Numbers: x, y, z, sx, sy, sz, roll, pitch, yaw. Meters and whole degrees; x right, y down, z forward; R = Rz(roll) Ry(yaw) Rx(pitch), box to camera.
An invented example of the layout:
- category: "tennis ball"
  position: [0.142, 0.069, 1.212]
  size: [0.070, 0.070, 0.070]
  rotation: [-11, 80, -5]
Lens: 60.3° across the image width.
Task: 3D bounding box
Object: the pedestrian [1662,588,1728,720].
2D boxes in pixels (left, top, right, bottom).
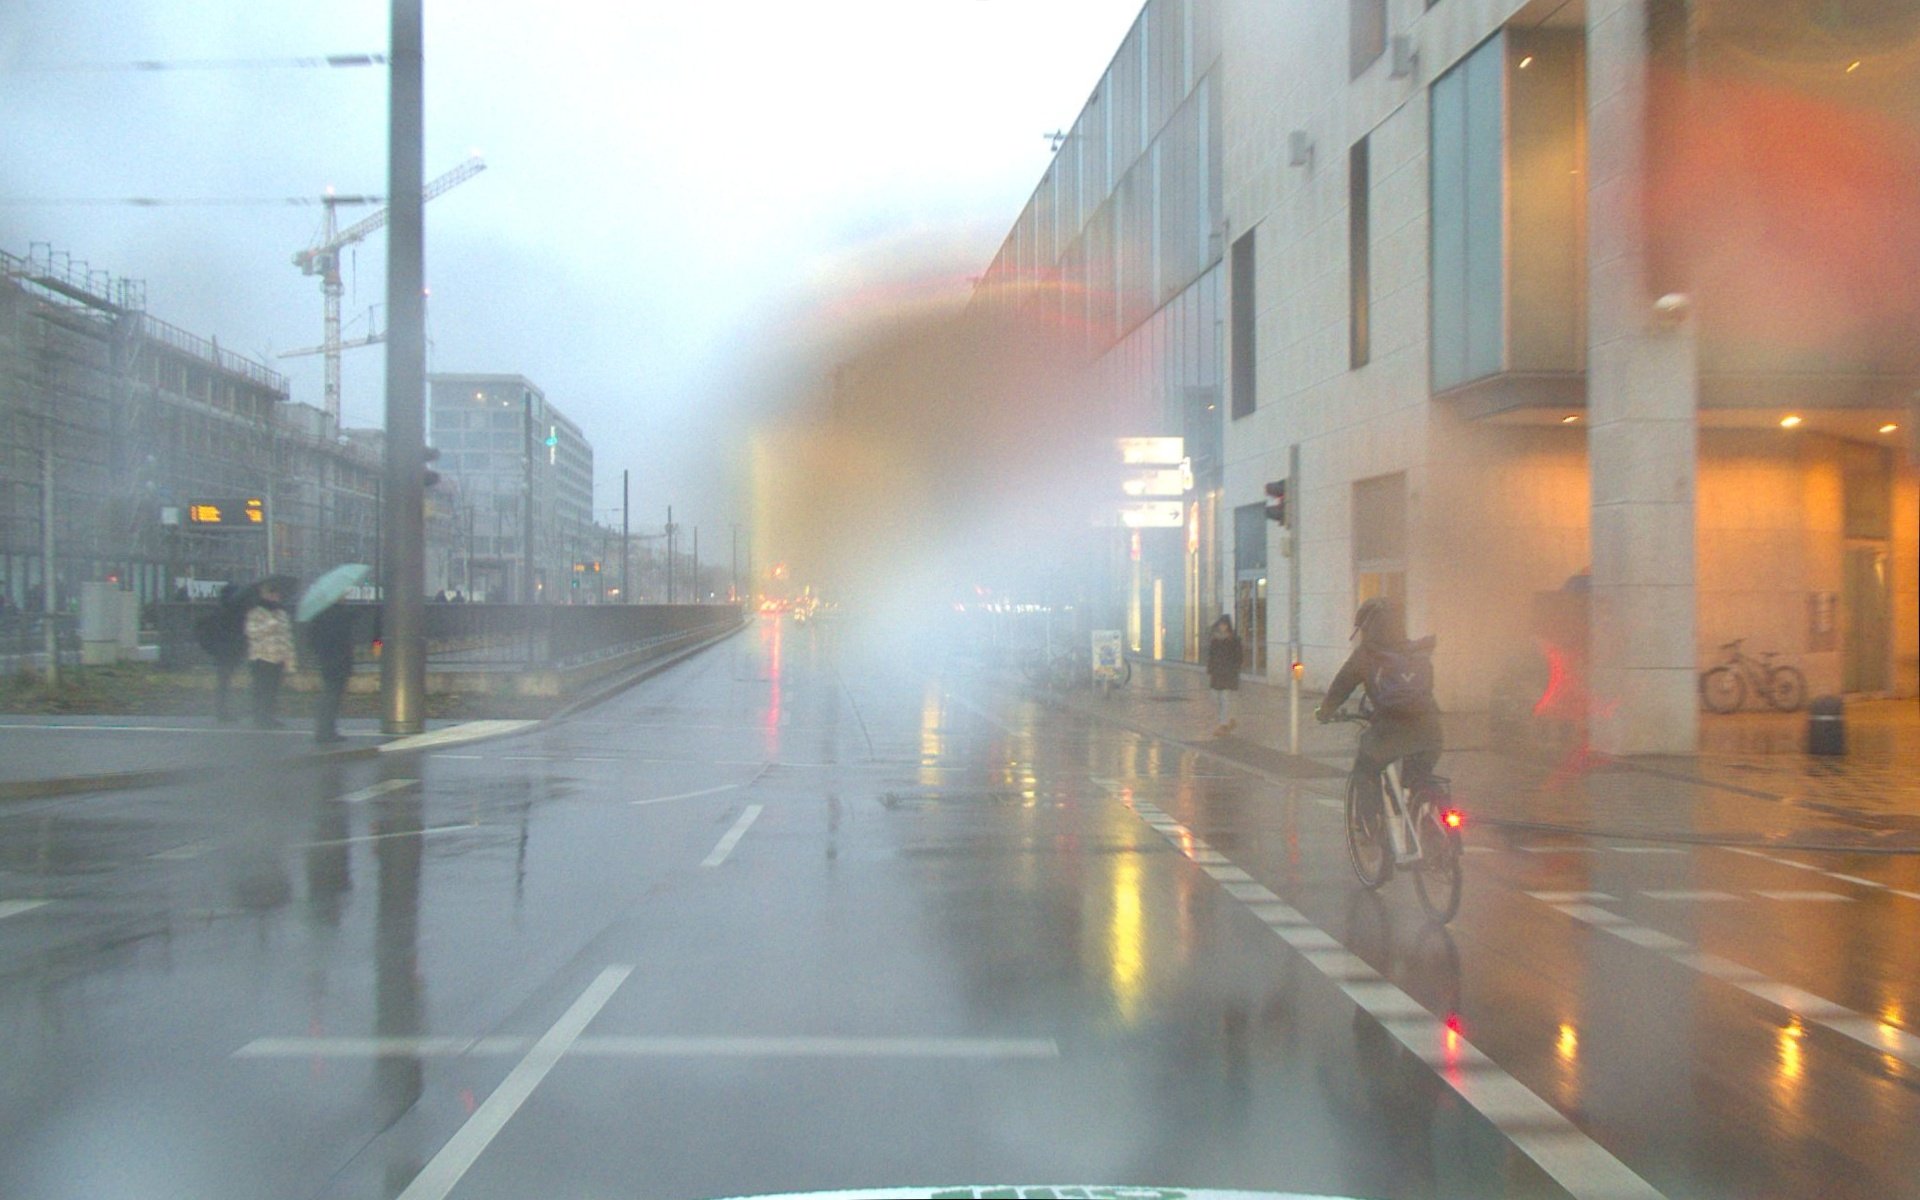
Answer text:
- category: "pedestrian"
  position: [10.377, 0.756, 23.374]
  size: [0.602, 1.836, 0.623]
  rotation: [1, 0, -6]

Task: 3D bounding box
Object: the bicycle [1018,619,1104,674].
- category: "bicycle"
  position: [2.300, 1.052, 37.837]
  size: [1.867, 1.195, 0.666]
  rotation: [-1, 0, -7]

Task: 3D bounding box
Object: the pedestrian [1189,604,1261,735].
- category: "pedestrian"
  position: [3.594, 0.930, 22.485]
  size: [0.694, 1.724, 0.720]
  rotation: [-1, 0, -18]

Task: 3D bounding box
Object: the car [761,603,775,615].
- category: "car"
  position: [-26.054, 1.197, 224.729]
  size: [1.864, 1.670, 3.995]
  rotation: [1, 0, -6]

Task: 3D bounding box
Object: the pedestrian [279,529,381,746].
- category: "pedestrian"
  position: [-6.557, 0.385, 17.256]
  size: [0.889, 2.183, 1.013]
  rotation: [1, -1, -18]

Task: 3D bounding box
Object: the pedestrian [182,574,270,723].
- category: "pedestrian"
  position: [-8.874, 0.572, 19.993]
  size: [0.850, 1.744, 0.756]
  rotation: [1, -1, -33]

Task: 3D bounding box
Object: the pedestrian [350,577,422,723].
- category: "pedestrian"
  position: [-7.030, 0.604, 20.245]
  size: [0.646, 1.748, 0.742]
  rotation: [1, -1, -33]

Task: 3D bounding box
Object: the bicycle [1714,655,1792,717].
- category: "bicycle"
  position: [11.784, 1.277, 24.575]
  size: [1.046, 0.877, 0.343]
  rotation: [-1, 0, -12]

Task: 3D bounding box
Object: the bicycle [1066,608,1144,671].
- category: "bicycle"
  position: [3.053, 0.822, 34.888]
  size: [1.531, 1.283, 0.663]
  rotation: [1, 0, 42]

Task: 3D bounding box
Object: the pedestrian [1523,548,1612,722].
- category: "pedestrian"
  position: [7.918, 0.451, 21.589]
  size: [0.938, 2.230, 0.711]
  rotation: [0, -1, 5]

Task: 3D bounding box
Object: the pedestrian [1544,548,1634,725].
- category: "pedestrian"
  position: [7.944, 0.459, 20.911]
  size: [0.944, 2.199, 0.581]
  rotation: [0, -1, 5]

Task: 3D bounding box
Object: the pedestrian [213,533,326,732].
- category: "pedestrian"
  position: [-8.088, 0.371, 19.360]
  size: [1.040, 2.246, 0.947]
  rotation: [1, -1, -33]

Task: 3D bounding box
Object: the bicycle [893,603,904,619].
- category: "bicycle"
  position: [-5.097, 0.914, 137.666]
  size: [0.669, 1.243, 1.902]
  rotation: [-3, 0, -7]

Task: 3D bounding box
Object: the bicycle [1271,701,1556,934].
- category: "bicycle"
  position: [2.410, 1.121, 9.133]
  size: [0.924, 1.017, 2.239]
  rotation: [1, -1, -1]

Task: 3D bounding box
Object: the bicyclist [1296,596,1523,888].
- category: "bicyclist"
  position: [2.419, 0.731, 9.028]
  size: [0.924, 1.488, 1.066]
  rotation: [1, 0, -1]
